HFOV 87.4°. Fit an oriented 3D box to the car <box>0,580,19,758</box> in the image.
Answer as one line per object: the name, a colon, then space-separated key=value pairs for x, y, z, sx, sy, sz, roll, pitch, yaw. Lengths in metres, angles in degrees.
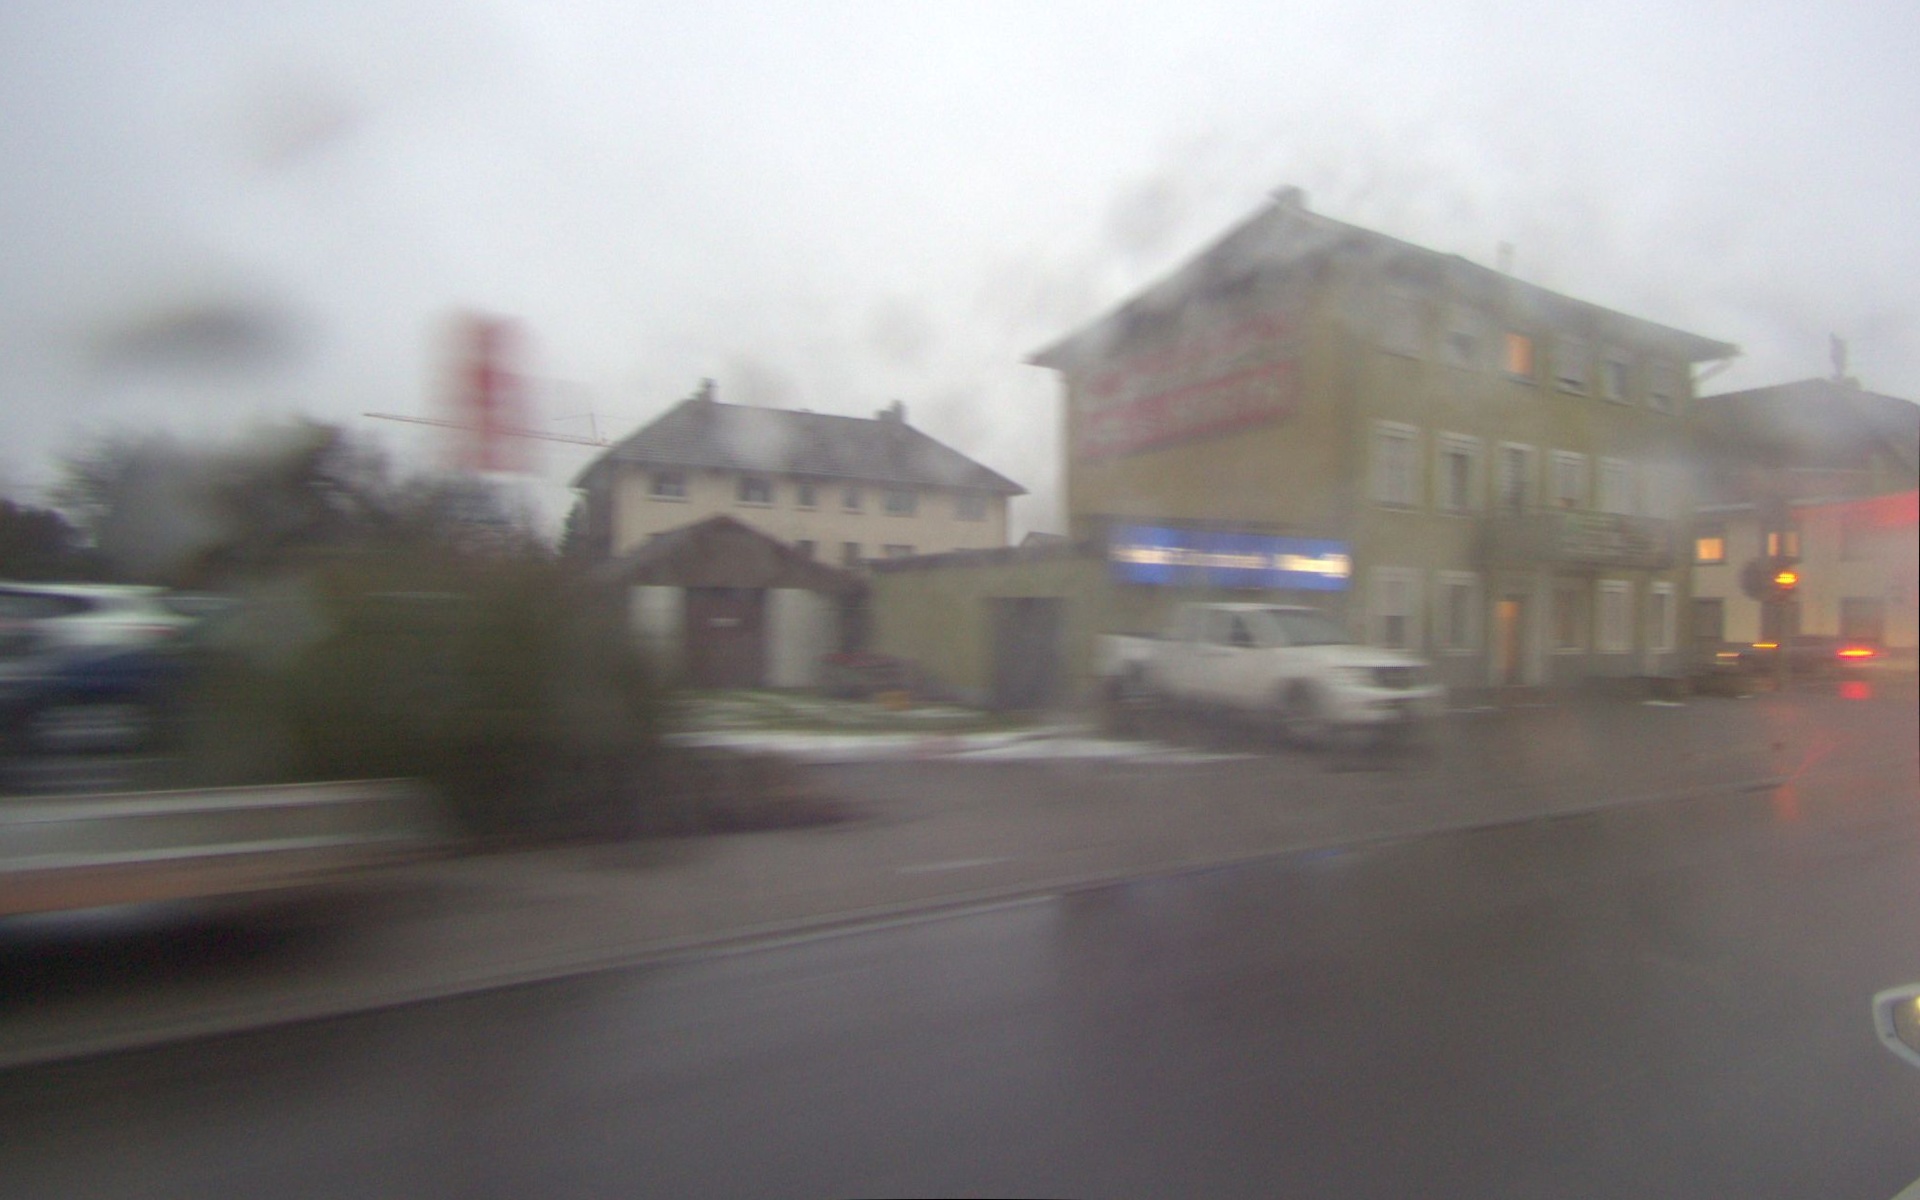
car: x=-11.649 y=0.685 z=9.254 sx=3.954 sy=1.894 sz=1.984 roll=1 pitch=-1 yaw=-31

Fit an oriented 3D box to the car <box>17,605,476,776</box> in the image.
car: x=-7.833 y=0.920 z=11.523 sx=3.954 sy=1.646 sz=1.984 roll=1 pitch=-1 yaw=-31

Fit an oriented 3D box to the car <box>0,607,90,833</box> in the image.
car: x=-7.740 y=0.845 z=6.842 sx=1.897 sy=1.604 sz=4.535 roll=1 pitch=-2 yaw=-30

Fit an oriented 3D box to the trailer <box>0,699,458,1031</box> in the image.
trailer: x=-5.341 y=1.075 z=3.841 sx=6.031 sy=1.052 sz=1.984 roll=1 pitch=-2 yaw=-30

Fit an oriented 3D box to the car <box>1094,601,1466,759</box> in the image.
car: x=4.221 y=0.959 z=14.291 sx=1.975 sy=1.814 sz=5.169 roll=1 pitch=-1 yaw=-28

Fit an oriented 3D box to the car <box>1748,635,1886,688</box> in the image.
car: x=28.345 y=1.992 z=33.293 sx=1.534 sy=1.528 sz=3.195 roll=1 pitch=0 yaw=-35

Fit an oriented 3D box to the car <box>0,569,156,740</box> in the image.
car: x=-12.113 y=0.606 z=11.736 sx=3.954 sy=1.929 sz=1.984 roll=1 pitch=-1 yaw=-31

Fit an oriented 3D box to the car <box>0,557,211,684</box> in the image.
car: x=-12.937 y=0.247 z=13.838 sx=3.952 sy=1.646 sz=1.789 roll=1 pitch=1 yaw=-30
